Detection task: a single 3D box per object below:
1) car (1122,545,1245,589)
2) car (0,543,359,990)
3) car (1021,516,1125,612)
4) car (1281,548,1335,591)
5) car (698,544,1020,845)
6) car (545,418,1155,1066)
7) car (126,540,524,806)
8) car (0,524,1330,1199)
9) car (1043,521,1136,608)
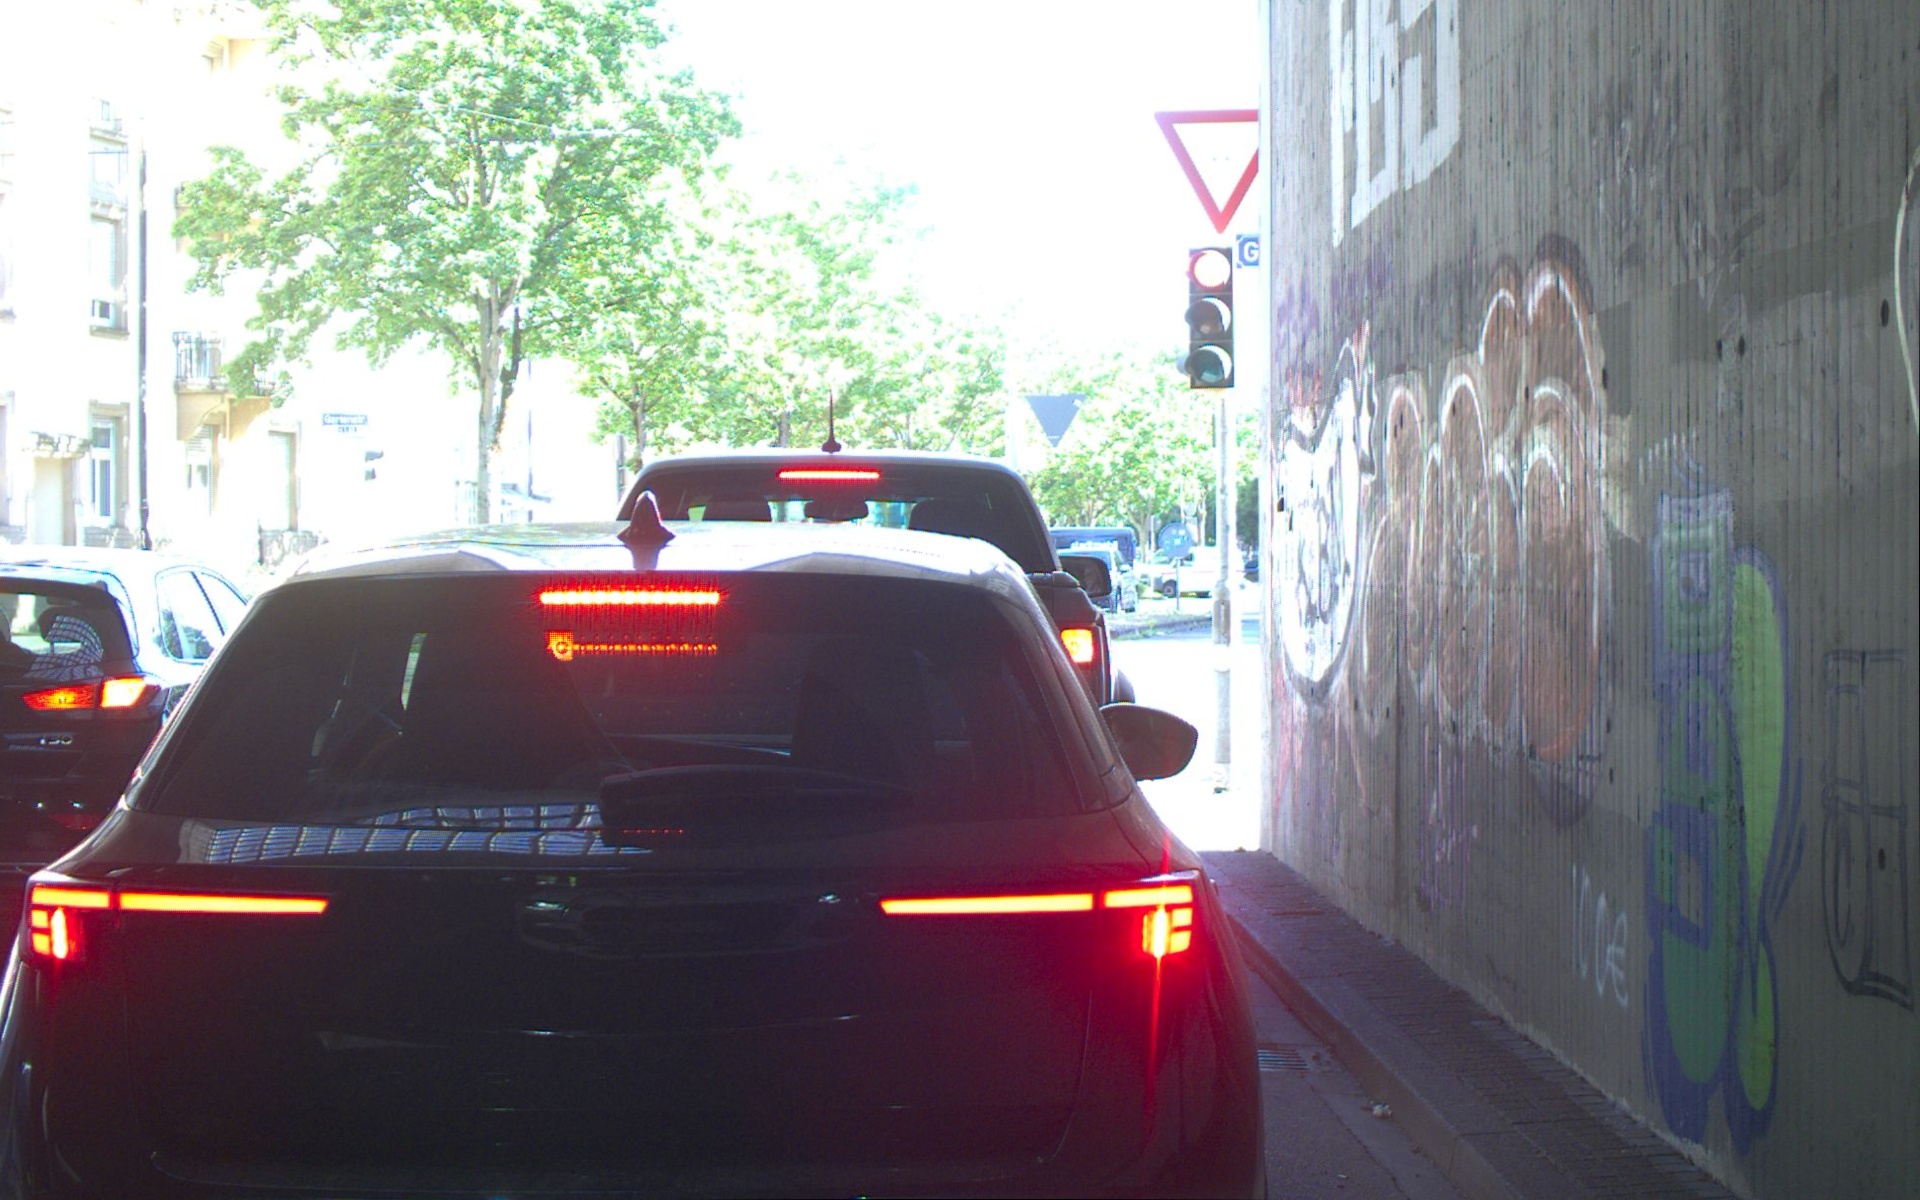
[{"bbox_3d":[8.769,-1.285,134.651,4.801,1.661,1.823,0,1,-38],"label":"car"},{"bbox_3d":[-3.520,0.521,13.288,1.762,1.475,3.844,0,1,-1],"label":"car"},{"bbox_3d":[2.078,-0.645,62.196,1.754,1.661,3.944,1,1,3],"label":"car"},{"bbox_3d":[13.677,-1.202,134.922,1.754,1.661,3.943,1,1,11],"label":"car"},{"bbox_3d":[-0.529,0.442,19.260,1.609,1.508,4.054,0,1,-1],"label":"car"},{"bbox_3d":[-0.343,0.380,12.041,1.762,1.876,4.146,0,1,-1],"label":"car"},{"bbox_3d":[-3.771,0.375,21.012,1.762,1.475,3.844,0,1,-1],"label":"car"},{"bbox_3d":[-0.470,0.642,6.100,1.762,1.526,4.089,0,1,-1],"label":"car"},{"bbox_3d":[2.597,-0.699,68.315,1.754,1.661,3.944,1,1,3],"label":"car"}]
